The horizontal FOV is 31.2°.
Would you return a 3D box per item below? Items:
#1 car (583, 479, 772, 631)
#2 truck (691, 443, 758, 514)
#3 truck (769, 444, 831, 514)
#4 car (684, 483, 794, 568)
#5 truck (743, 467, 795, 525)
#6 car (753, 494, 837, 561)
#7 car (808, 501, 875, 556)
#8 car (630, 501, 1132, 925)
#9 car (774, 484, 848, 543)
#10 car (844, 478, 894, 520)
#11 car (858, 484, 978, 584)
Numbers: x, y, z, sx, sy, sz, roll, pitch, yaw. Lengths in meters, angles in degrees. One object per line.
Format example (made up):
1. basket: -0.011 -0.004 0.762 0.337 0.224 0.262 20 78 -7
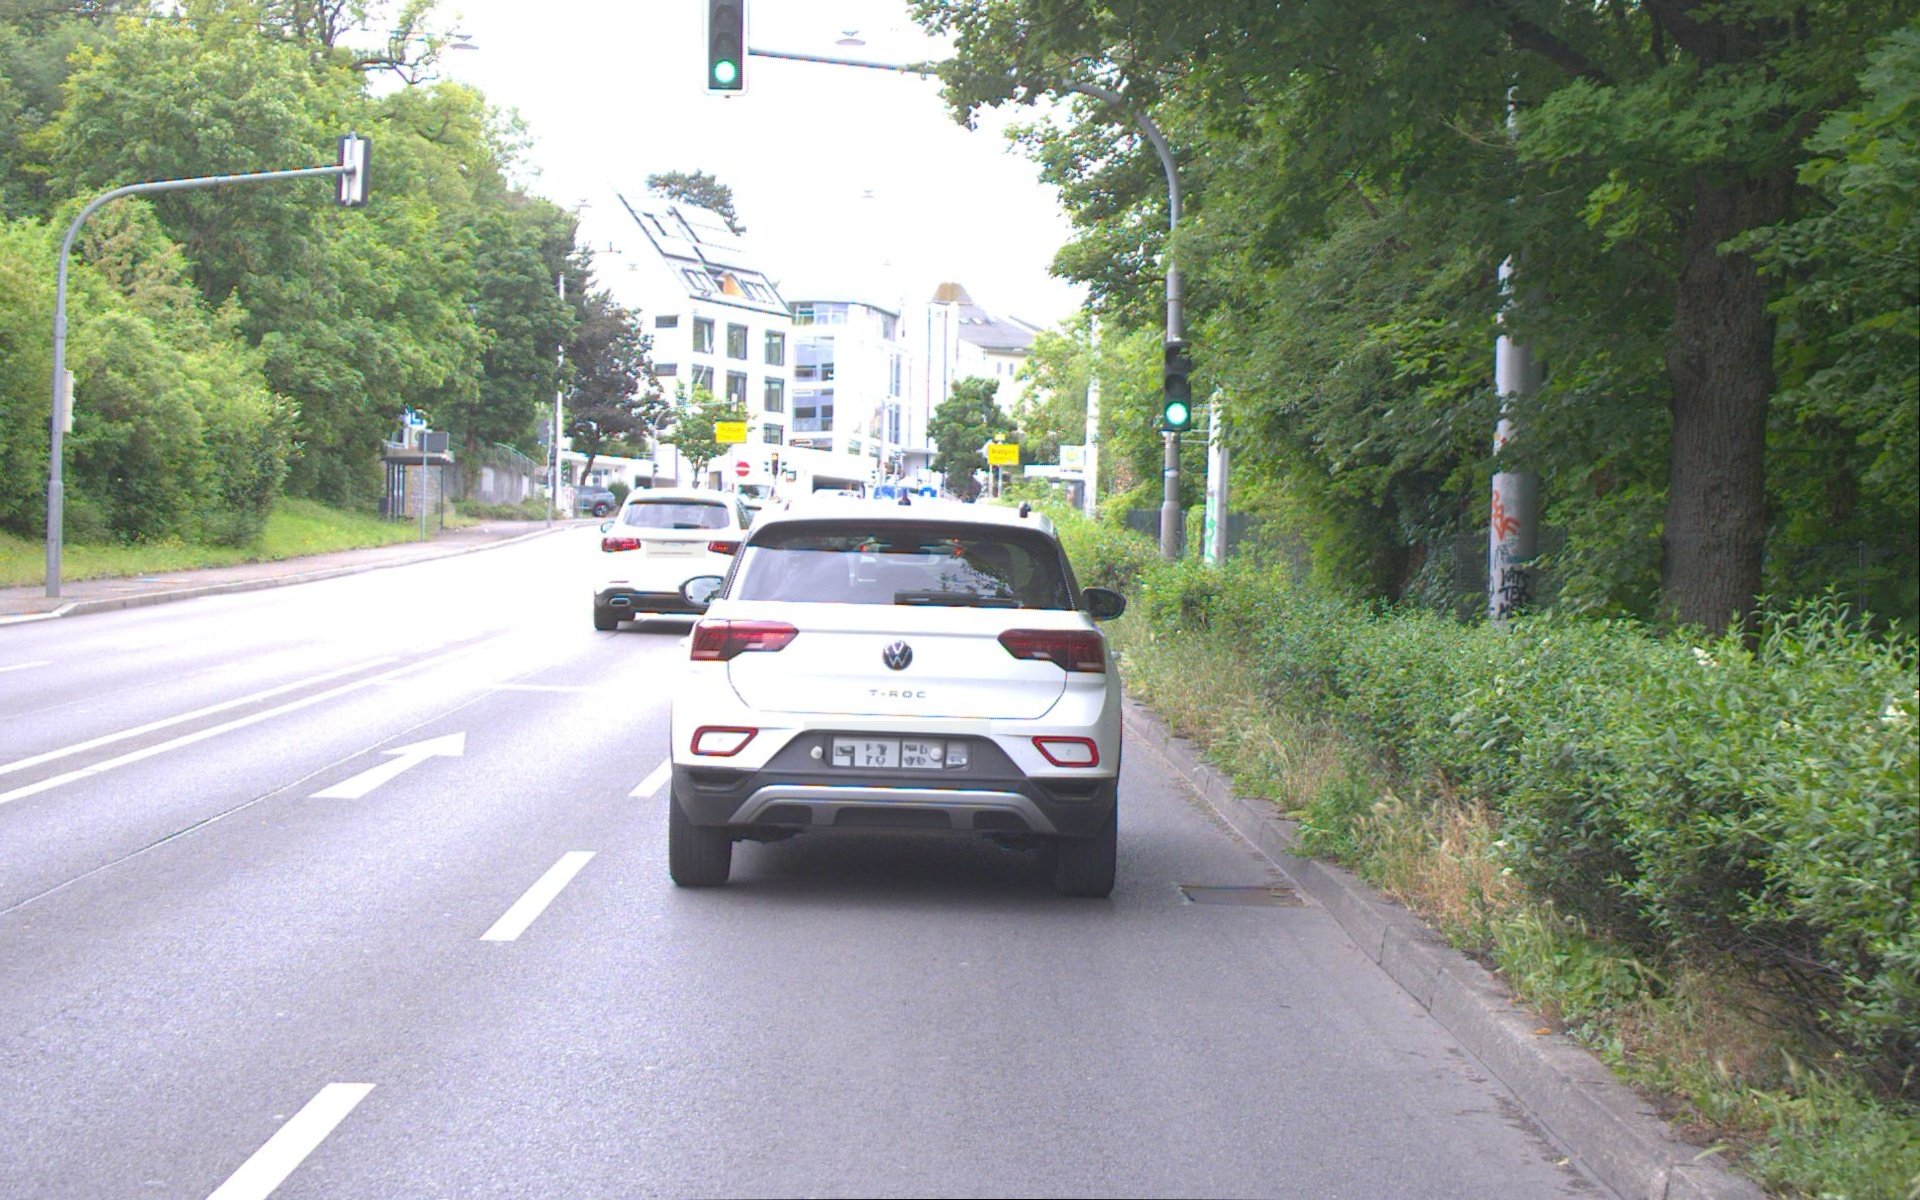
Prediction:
1. car: -3.238 -0.564 40.112 1.918 1.663 4.001 1 2 -1
2. truck: -9.115 -4.718 133.518 2.362 2.697 4.478 0 2 -1
3. truck: -6.406 -4.851 138.177 2.362 2.772 4.478 0 2 -1
4. car: -4.056 -1.396 63.626 1.829 1.492 4.001 1 2 -1
5. truck: -10.179 -5.556 183.547 2.293 3.040 6.980 0 2 0
6. car: -3.906 -1.750 81.882 1.829 1.520 4.001 1 2 -1
7. car: -3.412 -2.092 99.221 1.829 1.520 4.001 1 2 -1
8. car: -0.323 0.363 14.780 1.829 1.520 4.001 1 2 -1
9. car: -3.930 -2.308 91.367 1.829 1.520 4.001 1 2 -1
10. car: -3.390 -3.791 128.512 1.829 1.520 4.001 1 2 -1
11. car: -0.674 -1.087 55.038 1.829 1.520 4.001 1 2 -1
